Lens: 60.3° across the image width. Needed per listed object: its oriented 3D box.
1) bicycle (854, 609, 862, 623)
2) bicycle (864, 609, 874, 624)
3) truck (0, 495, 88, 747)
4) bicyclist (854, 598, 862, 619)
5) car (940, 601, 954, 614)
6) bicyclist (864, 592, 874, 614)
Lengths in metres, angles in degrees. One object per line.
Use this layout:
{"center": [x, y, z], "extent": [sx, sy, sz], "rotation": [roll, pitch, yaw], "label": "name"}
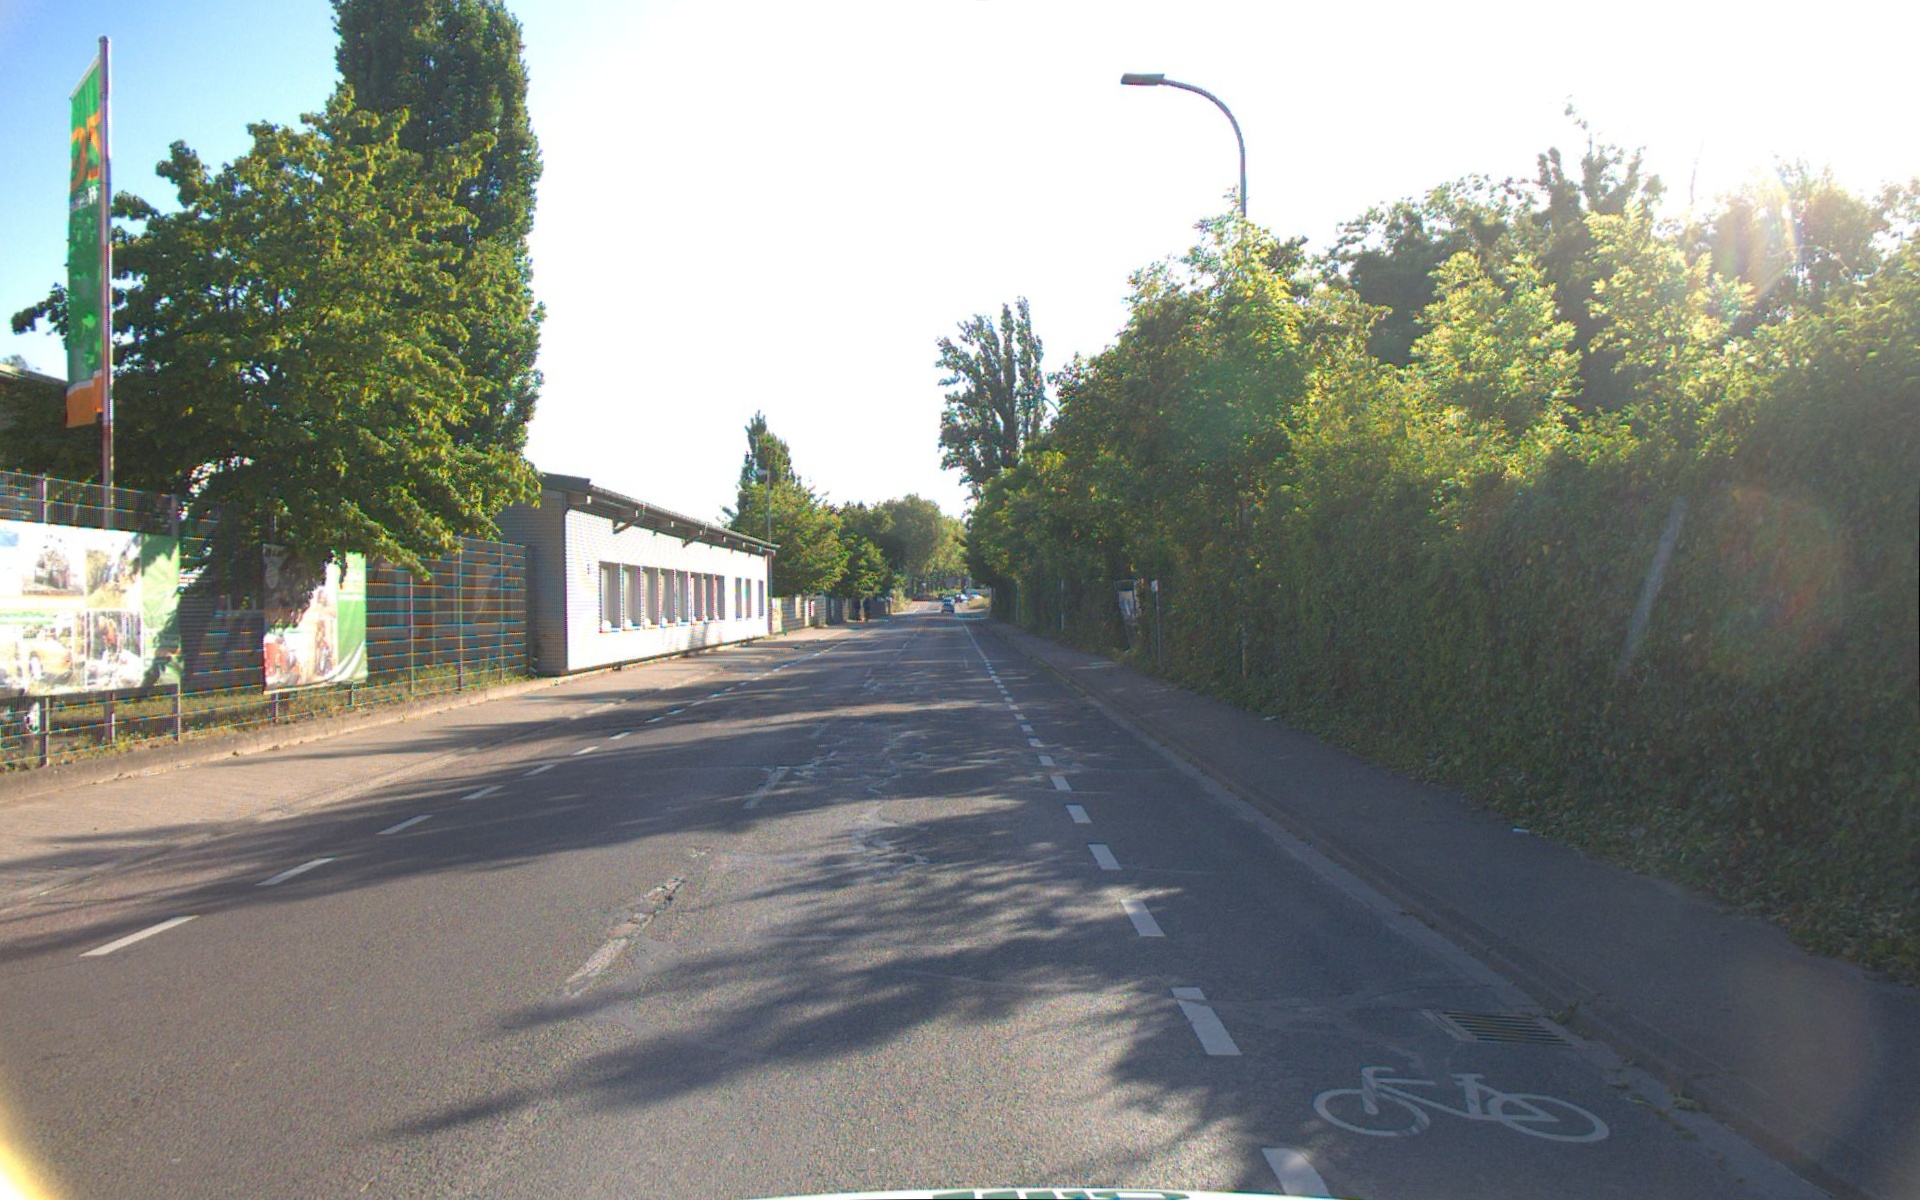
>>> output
{"center": [-7.513, 1.195, 121.762], "extent": [0.551, 1.052, 1.350], "rotation": [0, -1, 0], "label": "bicycle"}
{"center": [-6.679, 1.204, 121.214], "extent": [0.675, 1.052, 1.350], "rotation": [0, -1, 0], "label": "bicycle"}
{"center": [-11.685, 0.249, 17.344], "extent": [2.036, 2.810, 5.763], "rotation": [-1, 0, -1], "label": "truck"}
{"center": [-7.501, 0.626, 121.691], "extent": [0.548, 1.561, 0.689], "rotation": [0, -1, -1], "label": "bicyclist"}
{"center": [-1.767, 1.046, 229.992], "extent": [1.902, 1.680, 4.309], "rotation": [0, -1, 0], "label": "car"}
{"center": [-6.676, 0.217, 121.337], "extent": [0.675, 1.559, 0.722], "rotation": [0, -1, -1], "label": "bicyclist"}
